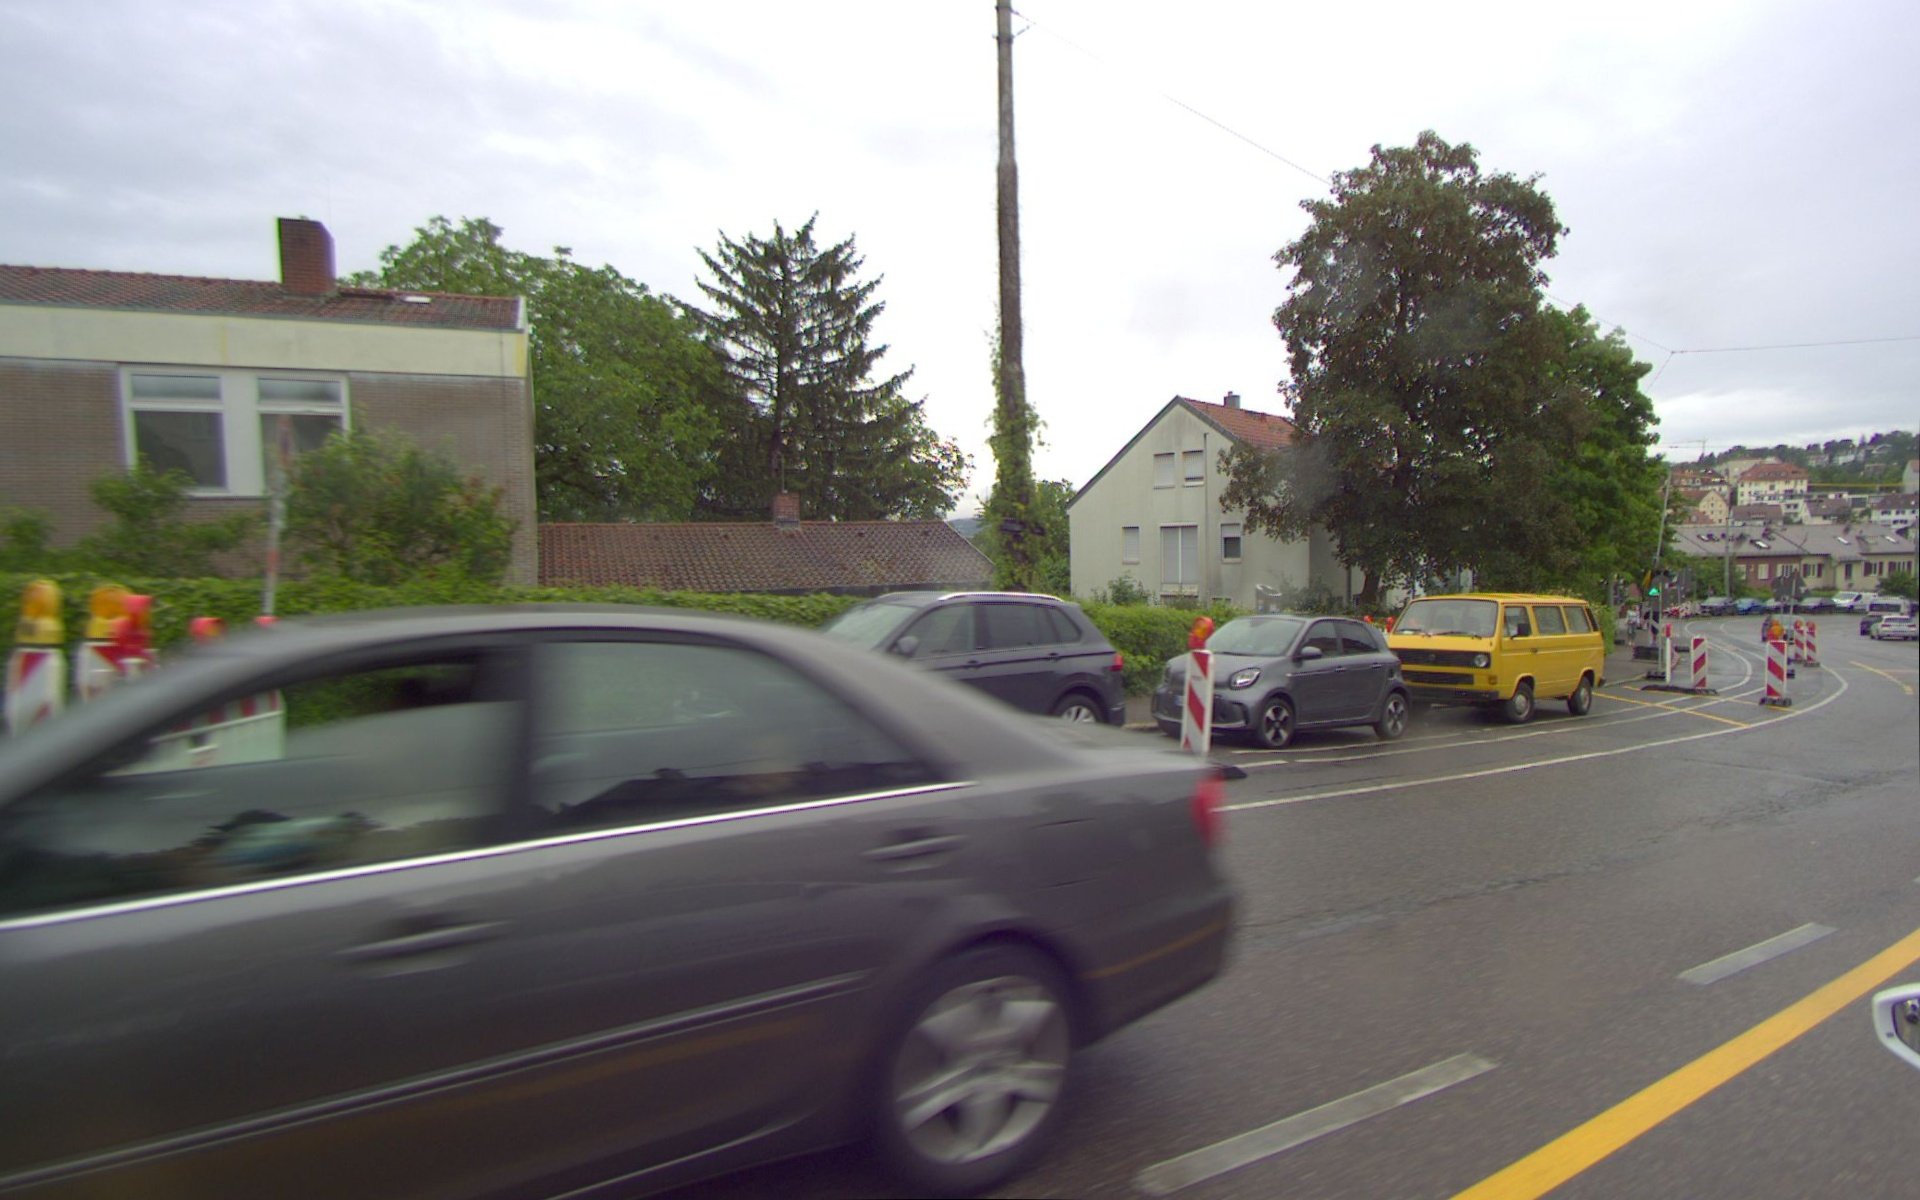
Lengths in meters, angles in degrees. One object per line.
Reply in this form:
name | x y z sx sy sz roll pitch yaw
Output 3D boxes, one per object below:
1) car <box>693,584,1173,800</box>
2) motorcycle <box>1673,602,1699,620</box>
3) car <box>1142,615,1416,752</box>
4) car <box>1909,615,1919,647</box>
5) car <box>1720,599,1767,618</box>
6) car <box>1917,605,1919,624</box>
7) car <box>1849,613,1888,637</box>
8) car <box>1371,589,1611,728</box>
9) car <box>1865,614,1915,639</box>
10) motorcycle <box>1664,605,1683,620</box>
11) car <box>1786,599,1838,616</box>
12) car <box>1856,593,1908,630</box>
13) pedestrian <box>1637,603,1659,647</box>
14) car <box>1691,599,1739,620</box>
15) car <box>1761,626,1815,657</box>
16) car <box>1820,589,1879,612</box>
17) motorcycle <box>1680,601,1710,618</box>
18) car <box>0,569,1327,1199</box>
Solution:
car | -0.106 0.735 9.630 4.422 1.629 1.707 1 0 -37
motorcycle | 60.661 0.934 83.916 0.602 1.321 1.805 1 4 -7
car | 4.042 0.972 12.560 3.432 1.473 1.563 2 -1 -37
car | 47.782 1.526 48.696 1.688 1.533 3.993 0 0 30
car | 70.018 0.729 89.729 4.418 1.424 1.691 -1 5 -29
car | 79.887 1.231 81.459 4.140 1.503 1.674 1 4 -22
car | 63.036 1.704 69.704 4.156 1.516 1.736 -1 2 -44
car | 8.657 0.880 16.223 4.537 1.953 1.789 1 -2 -39
car | 55.767 1.565 60.304 1.683 1.433 4.027 1 0 36
motorcycle | 58.522 1.028 82.394 1.898 1.155 0.507 -1 1 -29
car | 79.915 0.695 94.253 4.457 1.497 1.804 0 4 -23
car | 67.447 0.803 73.462 5.574 2.576 2.081 0 1 -40
pedestrian | 29.847 1.065 43.602 0.697 1.841 1.144 2 2 32
car | 65.498 0.816 87.137 4.341 1.598 1.909 -1 5 -34
car | 42.947 2.131 52.152 1.676 1.480 4.670 -1 -1 34
car | 85.280 0.041 96.315 4.938 2.107 1.847 1 4 -16
motorcycle | 62.007 0.798 84.790 1.870 1.288 0.575 3 4 24
car | -1.284 0.709 2.647 4.619 1.510 1.780 1 0 -32
